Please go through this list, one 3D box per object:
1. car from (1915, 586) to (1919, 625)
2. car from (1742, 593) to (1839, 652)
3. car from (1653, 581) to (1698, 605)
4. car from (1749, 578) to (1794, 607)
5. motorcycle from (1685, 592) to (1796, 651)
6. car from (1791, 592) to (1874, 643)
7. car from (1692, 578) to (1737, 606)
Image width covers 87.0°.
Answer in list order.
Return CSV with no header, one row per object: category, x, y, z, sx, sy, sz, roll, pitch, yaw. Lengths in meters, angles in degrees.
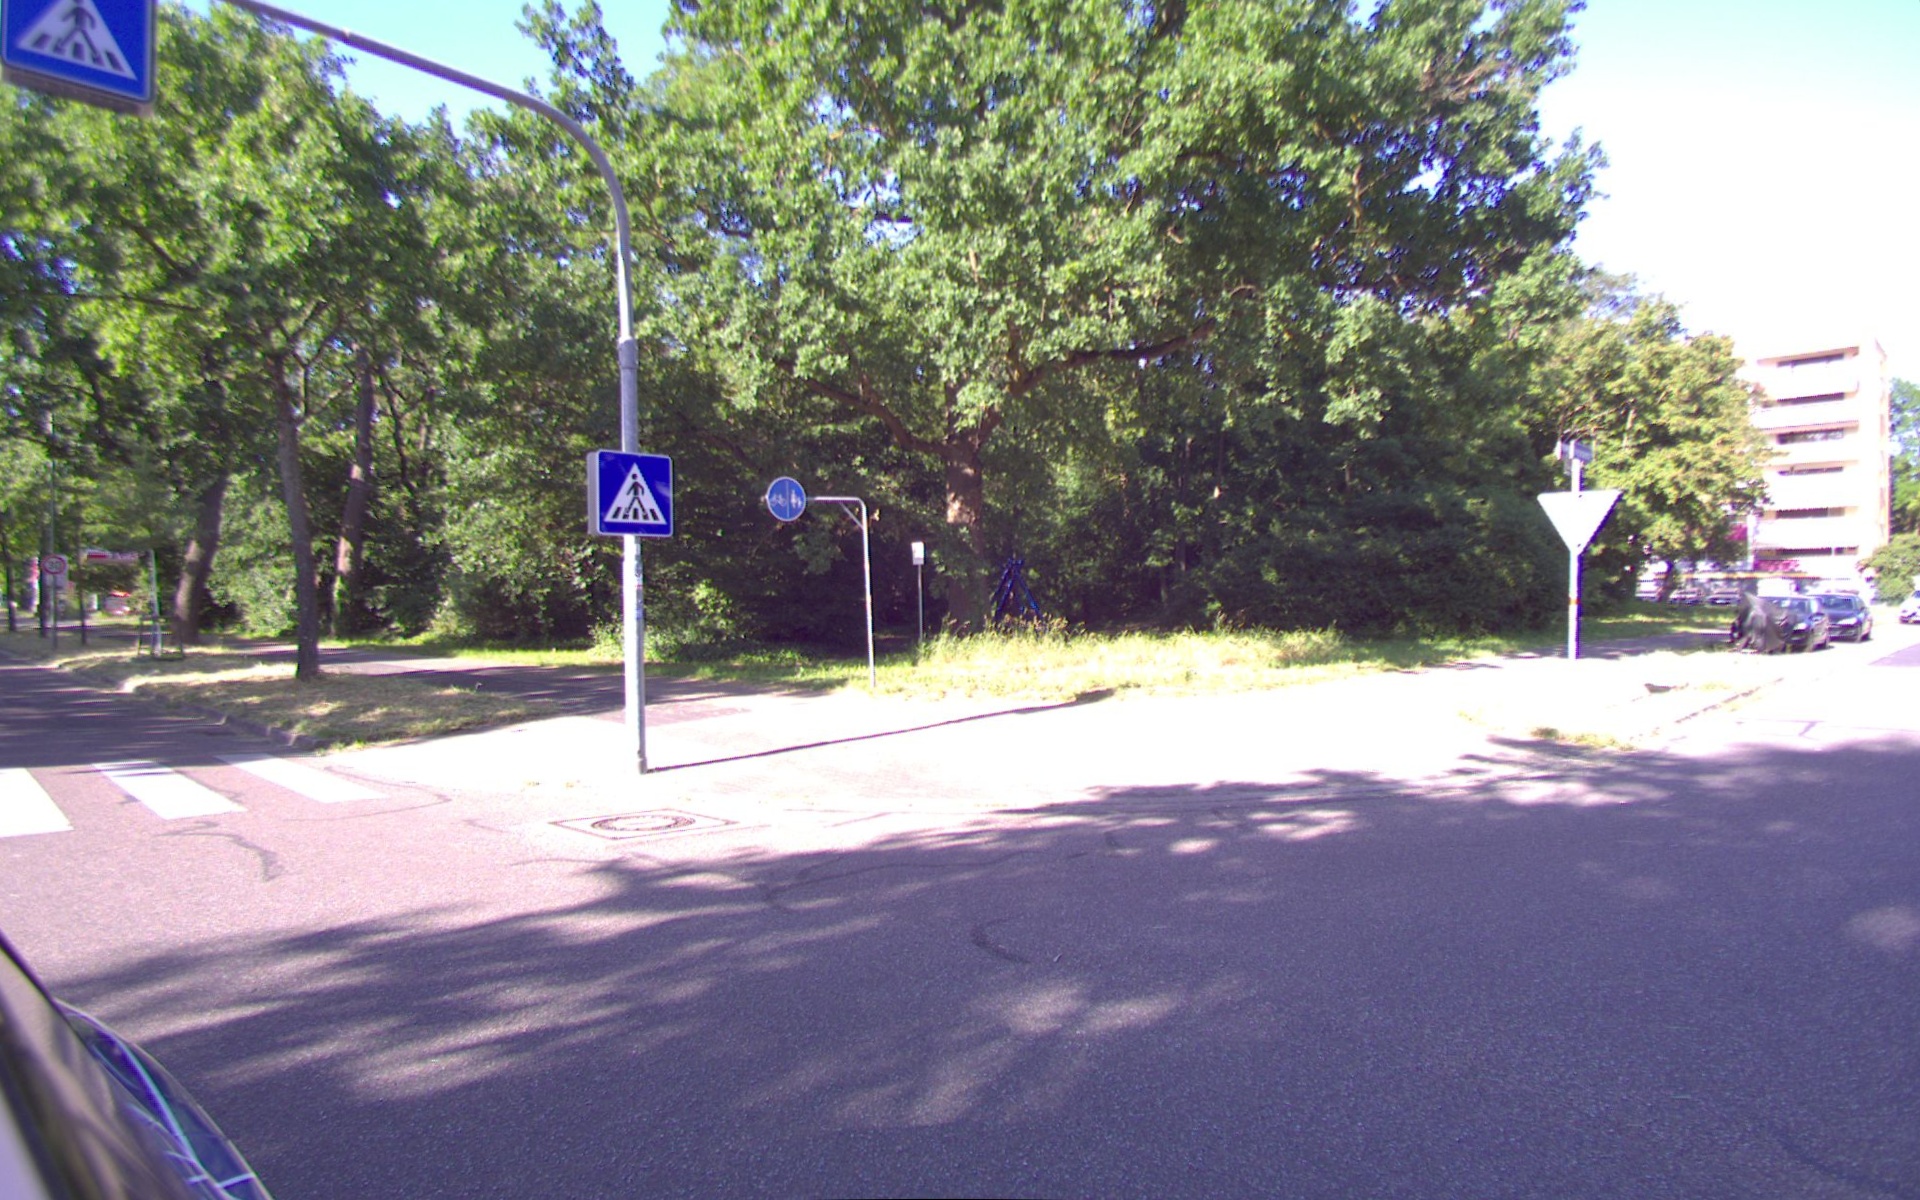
car,41.421,0.192,42.565,3.779,1.569,1.647,-1,0,-44
car,21.867,0.555,26.615,3.535,1.402,1.561,-1,0,-44
car,48.139,-0.452,68.099,3.779,1.538,1.802,-1,0,-44
car,51.338,-0.505,63.997,3.779,1.757,1.764,-1,0,-44
motorcycle,18.411,0.515,23.916,1.944,1.354,0.672,-1,0,16
car,26.415,0.491,30.614,3.535,1.402,1.561,-1,0,-44
car,49.541,-0.542,66.458,3.779,1.757,1.764,-1,0,-44
